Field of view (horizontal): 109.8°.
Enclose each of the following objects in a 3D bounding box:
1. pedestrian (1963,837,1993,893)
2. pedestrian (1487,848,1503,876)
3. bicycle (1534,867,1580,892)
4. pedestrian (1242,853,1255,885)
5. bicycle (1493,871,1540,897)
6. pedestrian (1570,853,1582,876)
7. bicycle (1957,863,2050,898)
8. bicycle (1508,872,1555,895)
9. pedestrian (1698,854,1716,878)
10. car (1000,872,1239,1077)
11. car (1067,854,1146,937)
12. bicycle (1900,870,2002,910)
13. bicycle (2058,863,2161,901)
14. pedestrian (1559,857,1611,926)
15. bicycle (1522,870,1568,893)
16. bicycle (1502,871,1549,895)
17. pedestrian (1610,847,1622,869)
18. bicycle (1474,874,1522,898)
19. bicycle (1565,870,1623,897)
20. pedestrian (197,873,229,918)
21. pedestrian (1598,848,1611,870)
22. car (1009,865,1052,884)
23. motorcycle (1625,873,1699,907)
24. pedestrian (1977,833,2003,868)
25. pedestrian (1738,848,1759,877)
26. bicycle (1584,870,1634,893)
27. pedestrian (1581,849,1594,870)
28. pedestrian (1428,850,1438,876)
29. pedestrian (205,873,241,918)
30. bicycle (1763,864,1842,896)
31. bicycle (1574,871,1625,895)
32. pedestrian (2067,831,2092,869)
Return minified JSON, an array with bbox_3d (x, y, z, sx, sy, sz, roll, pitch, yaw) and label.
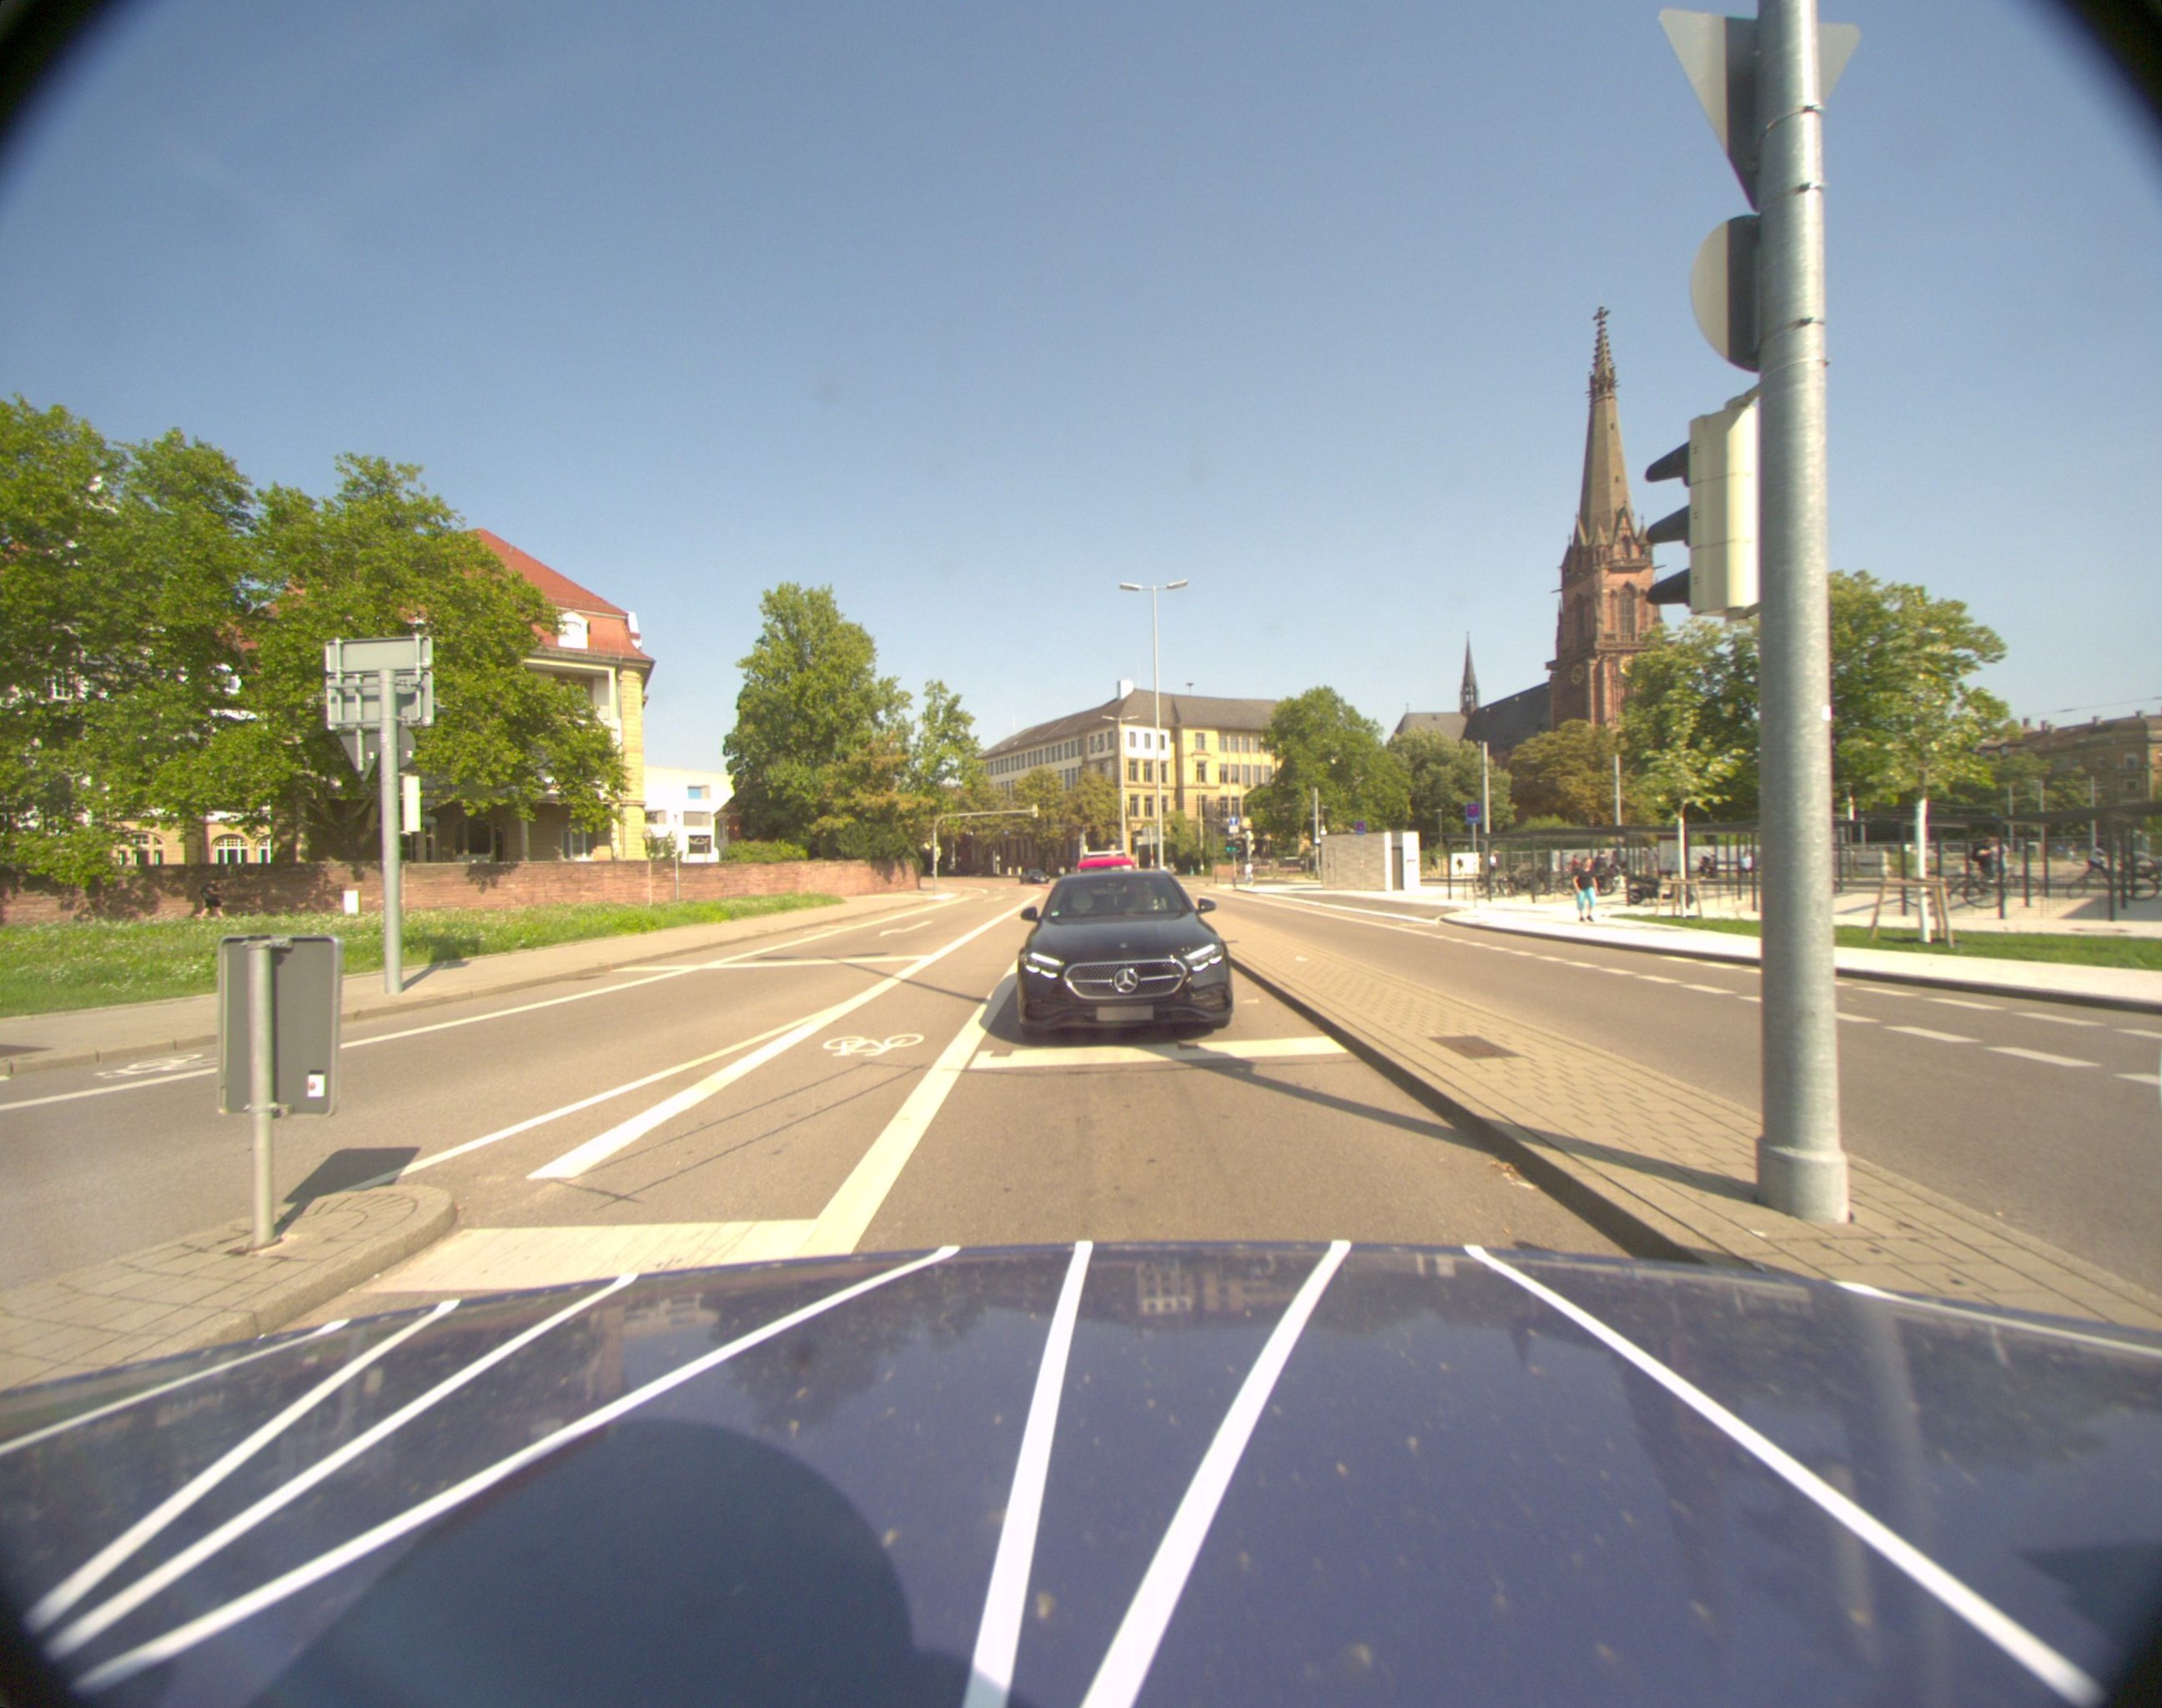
[{"bbox_3d":[28.977,0.346,24.542,0.334,1.791,0.591,-1,0,-38],"label":"pedestrian"},{"bbox_3d":[25.867,0.475,47.495,0.716,1.738,0.389,-1,0,-1],"label":"pedestrian"},{"bbox_3d":[19.903,1.061,31.799,0.453,0.972,1.584,-3,1,-33],"label":"bicycle"},{"bbox_3d":[10.539,0.921,47.713,0.732,2.002,0.715,-1,0,10],"label":"pedestrian"},{"bbox_3d":[16.989,1.151,29.676,0.422,0.961,1.584,-1,0,-33],"label":"bicycle"},{"bbox_3d":[29.160,0.624,44.768,0.394,1.310,0.414,-4,0,-28],"label":"pedestrian"},{"bbox_3d":[27.762,0.783,22.888,0.402,1.003,1.741,-1,0,-33],"label":"bicycle"},{"bbox_3d":[18.030,1.152,30.416,0.410,0.887,1.584,-1,0,-33],"label":"bicycle"},{"bbox_3d":[31.944,0.615,38.776,0.468,1.190,0.573,-1,0,-32],"label":"pedestrian"},{"bbox_3d":[0.411,1.000,8.332,1.824,1.431,4.874,-1,0,3],"label":"car"},{"bbox_3d":[0.701,0.955,19.170,1.736,1.808,4.279,-1,-1,4],"label":"car"},{"bbox_3d":[23.243,0.935,20.336,0.402,1.003,1.741,-1,0,-33],"label":"bicycle"},{"bbox_3d":[28.652,0.763,21.157,0.475,1.014,1.740,-1,0,-34],"label":"bicycle"},{"bbox_3d":[11.631,0.849,17.559,0.754,1.556,0.666,0,0,-16],"label":"pedestrian"},{"bbox_3d":[18.949,1.116,31.066,0.402,0.887,1.584,-1,0,-33],"label":"bicycle"},{"bbox_3d":[17.566,1.132,30.075,0.402,0.887,1.584,-1,0,-33],"label":"bicycle"},{"bbox_3d":[30.494,0.245,43.320,0.440,1.217,0.382,-4,0,-32],"label":"pedestrian"},{"bbox_3d":[15.902,1.206,29.017,0.402,0.887,1.584,-1,0,-33],"label":"bicycle"},{"bbox_3d":[19.167,1.079,28.415,0.534,0.981,1.709,-1,0,-33],"label":"bicycle"},{"bbox_3d":[-32.661,1.549,28.588,0.595,1.642,0.482,-4,0,-29],"label":"pedestrian"},{"bbox_3d":[30.300,0.276,43.987,0.440,1.217,0.382,-4,0,-32],"label":"pedestrian"},{"bbox_3d":[-4.754,1.849,70.663,2.003,1.600,4.236,-4,1,-36],"label":"car"},{"bbox_3d":[18.055,1.108,23.659,0.544,1.003,1.741,-1,0,-33],"label":"motorcycle"},{"bbox_3d":[37.368,-0.144,31.239,0.470,1.413,0.568,-4,0,-32],"label":"pedestrian"},{"bbox_3d":[32.764,0.428,37.282,0.663,1.386,0.642,-1,0,-35],"label":"pedestrian"},{"bbox_3d":[20.965,1.076,30.192,0.410,0.887,1.584,-1,0,-33],"label":"bicycle"},{"bbox_3d":[29.455,0.311,44.190,0.440,1.217,0.382,-4,0,-32],"label":"pedestrian"},{"bbox_3d":[23.181,0.572,50.033,0.517,1.697,0.504,-1,1,25],"label":"pedestrian"},{"bbox_3d":[-32.906,1.574,29.143,0.719,1.673,0.593,-1,0,-30],"label":"pedestrian"},{"bbox_3d":[24.255,0.863,25.577,0.462,1.003,1.870,-1,0,-33],"label":"bicycle"},{"bbox_3d":[19.920,1.100,29.214,0.410,0.887,1.584,-1,0,-33],"label":"bicycle"},{"bbox_3d":[38.292,-0.162,29.134,0.570,1.413,0.468,-4,0,-31],"label":"pedestrian"}]
